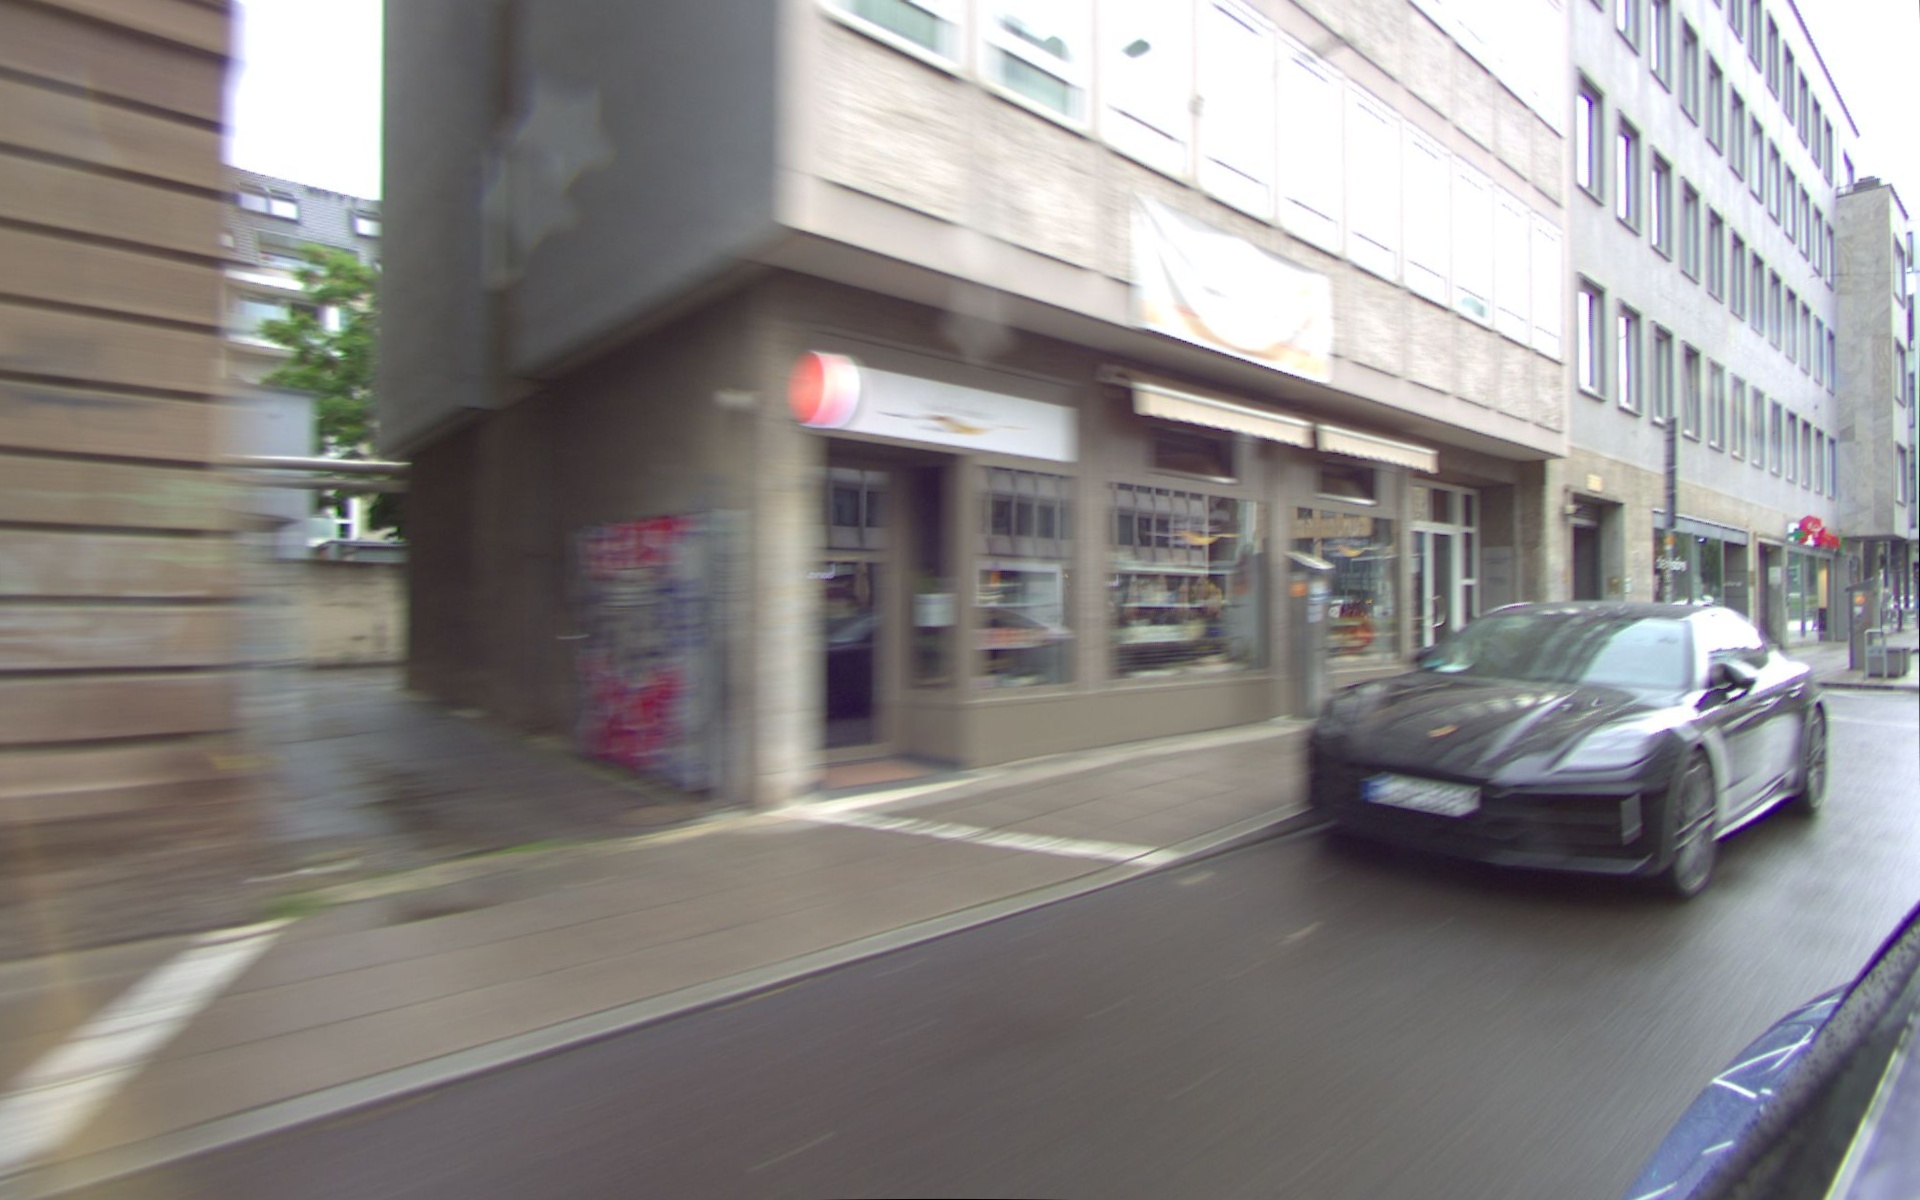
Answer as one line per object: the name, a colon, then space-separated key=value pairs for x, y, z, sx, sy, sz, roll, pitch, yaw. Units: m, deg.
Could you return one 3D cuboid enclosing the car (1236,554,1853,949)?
car: x=3.889 y=0.582 z=6.367 sx=4.491 sy=1.614 sz=1.997 roll=-1 pitch=1 yaw=-41
